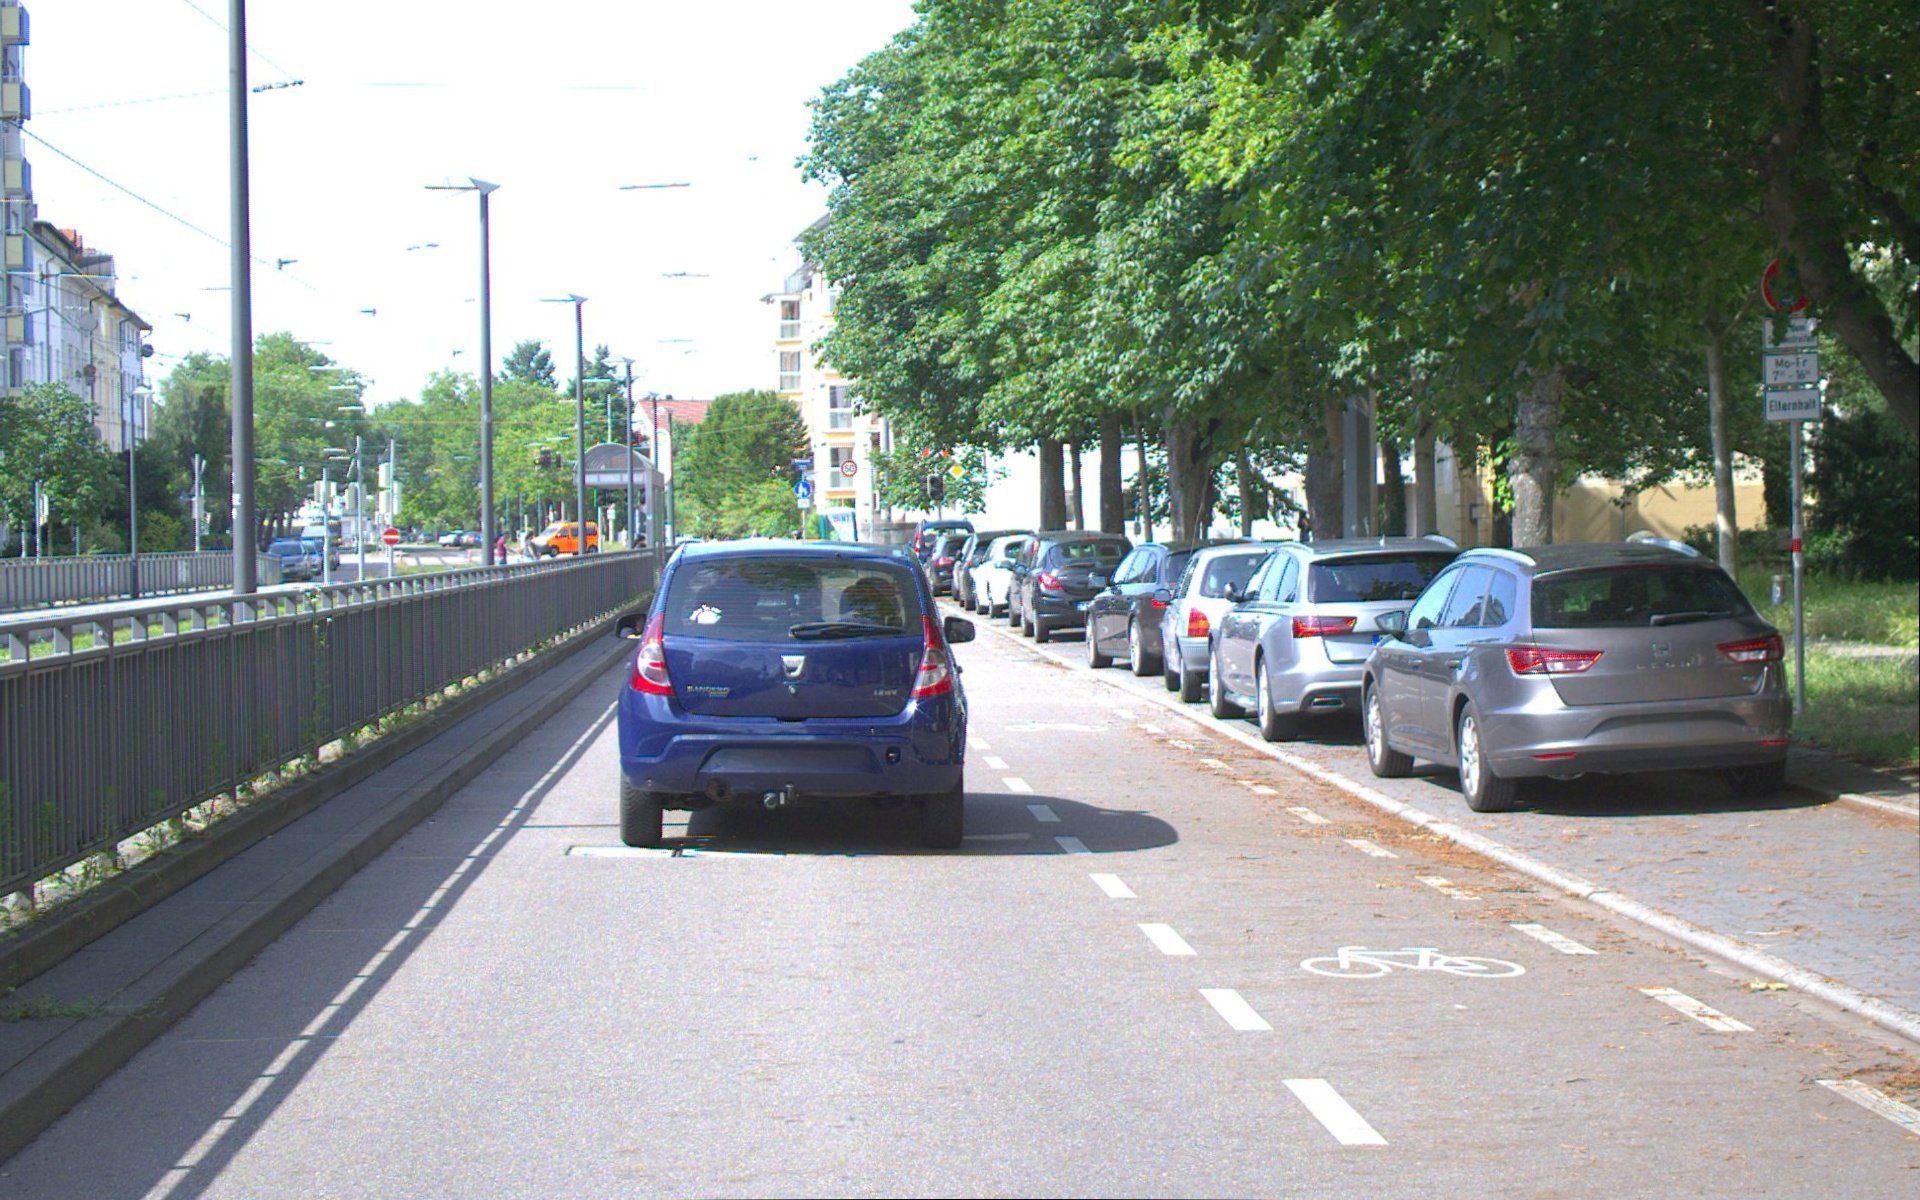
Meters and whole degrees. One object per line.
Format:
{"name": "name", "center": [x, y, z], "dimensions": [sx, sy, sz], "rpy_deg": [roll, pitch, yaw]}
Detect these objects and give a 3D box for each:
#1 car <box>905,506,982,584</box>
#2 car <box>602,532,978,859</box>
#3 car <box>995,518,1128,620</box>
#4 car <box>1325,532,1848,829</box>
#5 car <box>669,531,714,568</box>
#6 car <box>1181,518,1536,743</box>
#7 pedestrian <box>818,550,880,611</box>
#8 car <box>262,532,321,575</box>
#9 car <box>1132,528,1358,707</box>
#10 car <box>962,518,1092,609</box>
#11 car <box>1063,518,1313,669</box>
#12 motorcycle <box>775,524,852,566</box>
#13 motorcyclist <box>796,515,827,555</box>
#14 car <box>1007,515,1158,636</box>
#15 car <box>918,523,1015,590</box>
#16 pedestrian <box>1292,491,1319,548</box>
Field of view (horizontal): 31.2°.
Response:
{"name": "car", "center": [-0.461, -1.440, 88.670], "dimensions": [1.822, 1.889, 4.184], "rpy_deg": [-2, 2, -1]}
{"name": "car", "center": [-0.922, 0.411, 18.107], "dimensions": [1.743, 1.501, 4.001], "rpy_deg": [1, 1, -4]}
{"name": "car", "center": [1.579, -0.490, 54.625], "dimensions": [1.555, 1.456, 3.559], "rpy_deg": [-4, 1, -6]}
{"name": "car", "center": [3.531, 0.372, 20.306], "dimensions": [1.828, 1.395, 4.658], "rpy_deg": [-4, 2, -4]}
{"name": "car", "center": [-10.803, -2.025, 138.131], "dimensions": [1.622, 1.460, 3.511], "rpy_deg": [1, 1, -7]}
{"name": "car", "center": [2.972, 0.156, 26.714], "dimensions": [1.829, 1.436, 5.050], "rpy_deg": [-4, 2, -3]}
{"name": "pedestrian", "center": [-3.739, -0.660, 115.411], "dimensions": [1.993, 2.007, 4.000], "rpy_deg": [1, 1, -3]}
{"name": "car", "center": [-26.647, -1.849, 137.126], "dimensions": [1.993, 1.639, 4.001], "rpy_deg": [1, 1, -7]}
{"name": "car", "center": [2.580, 0.109, 31.912], "dimensions": [1.635, 1.426, 4.015], "rpy_deg": [-3, 2, -1]}
{"name": "car", "center": [1.193, -0.693, 63.354], "dimensions": [1.835, 1.518, 4.254], "rpy_deg": [-3, 1, -5]}
{"name": "car", "center": [2.429, -0.081, 37.854], "dimensions": [1.831, 1.462, 4.832], "rpy_deg": [-3, 1, -7]}
{"name": "motorcycle", "center": [-4.916, -1.845, 115.100], "dimensions": [2.508, 1.334, 1.018], "rpy_deg": [-1, 1, -5]}
{"name": "motorcyclist", "center": [-4.963, -2.176, 115.103], "dimensions": [0.983, 1.334, 0.942], "rpy_deg": [-1, 1, -4]}
{"name": "car", "center": [1.711, -0.377, 49.429], "dimensions": [1.690, 1.556, 4.308], "rpy_deg": [-4, 1, -3]}
{"name": "car", "center": [0.124, -1.086, 83.339], "dimensions": [1.917, 1.437, 4.797], "rpy_deg": [-3, 2, -4]}
{"name": "pedestrian", "center": [9.722, -2.252, 96.728], "dimensions": [0.631, 1.590, 0.540], "rpy_deg": [-1, 1, -6]}
